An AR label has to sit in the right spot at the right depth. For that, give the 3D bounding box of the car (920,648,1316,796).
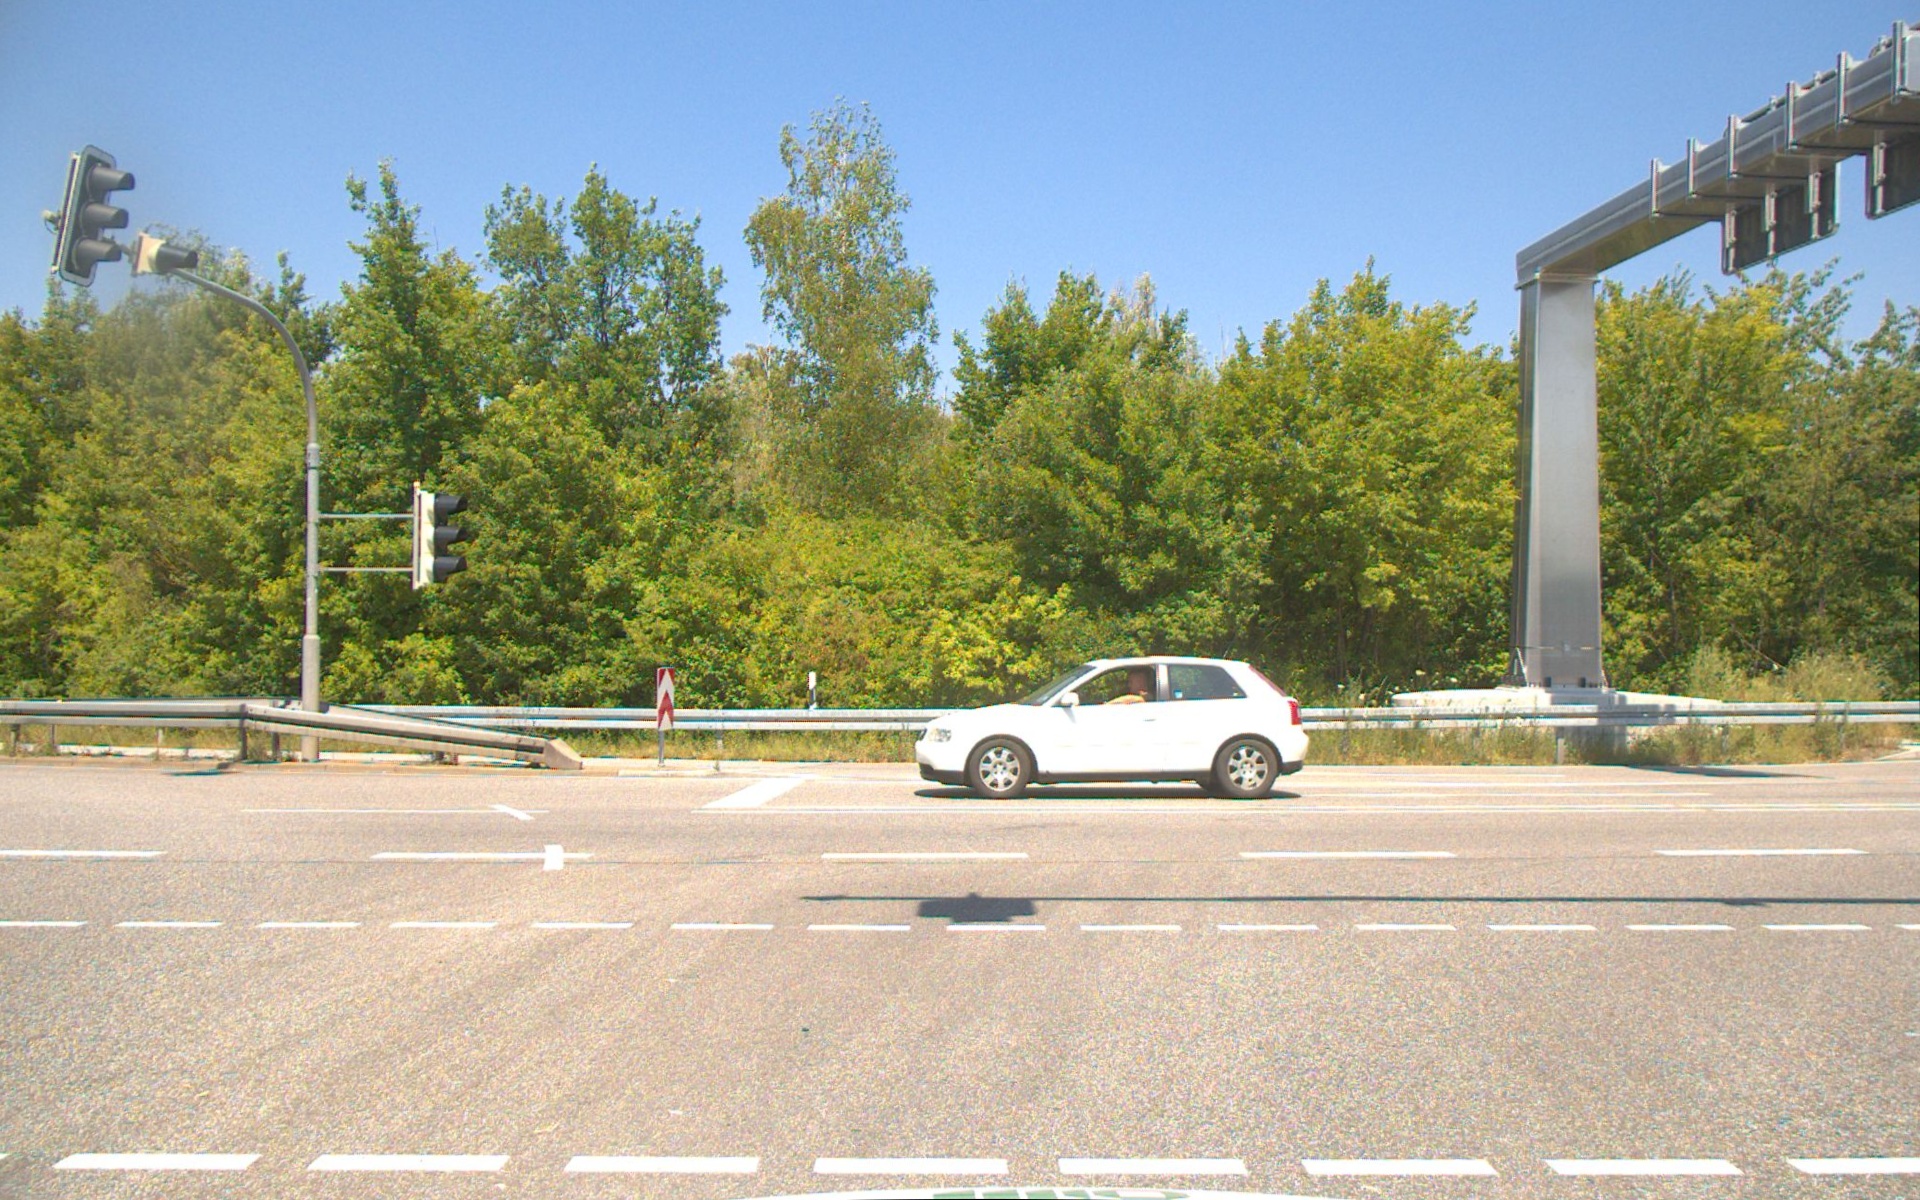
[{"bbox_3d":[1.557,1.255,17.151,3.898,1.420,1.645,1,-4,-3],"label":"car"}]
